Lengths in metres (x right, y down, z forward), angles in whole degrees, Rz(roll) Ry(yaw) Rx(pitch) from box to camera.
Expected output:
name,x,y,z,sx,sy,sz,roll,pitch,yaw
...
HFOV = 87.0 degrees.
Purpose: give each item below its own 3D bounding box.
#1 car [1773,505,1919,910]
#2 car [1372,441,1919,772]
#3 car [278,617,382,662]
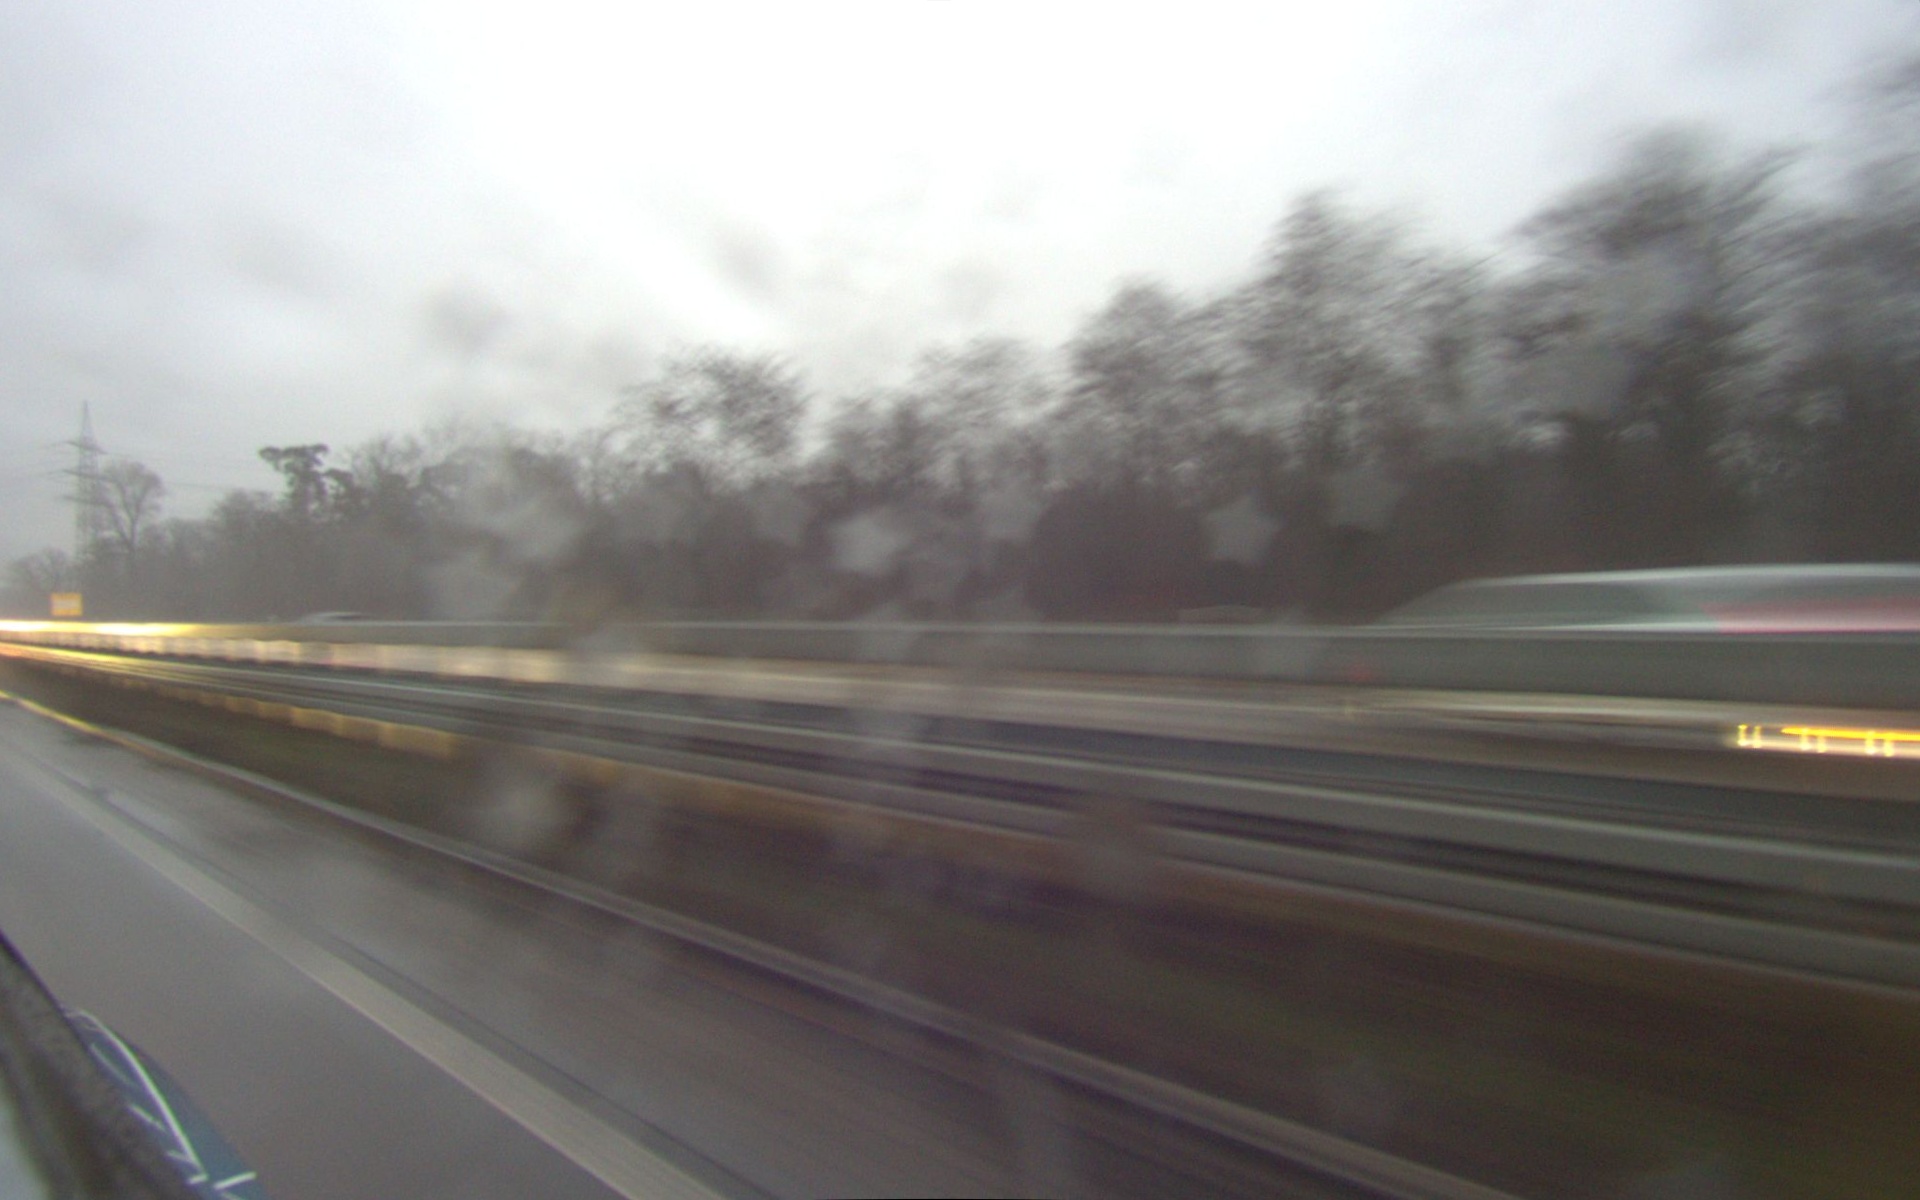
name,x,y,z,sx,sy,sz,roll,pitch,yaw
car,6.372,0.389,3.556,5.365,1.729,1.972,-2,0,42
car,6.503,0.061,9.253,4.677,2.430,1.972,-1,0,42
car,-21.190,1.288,34.000,4.247,1.369,1.749,-1,0,40
